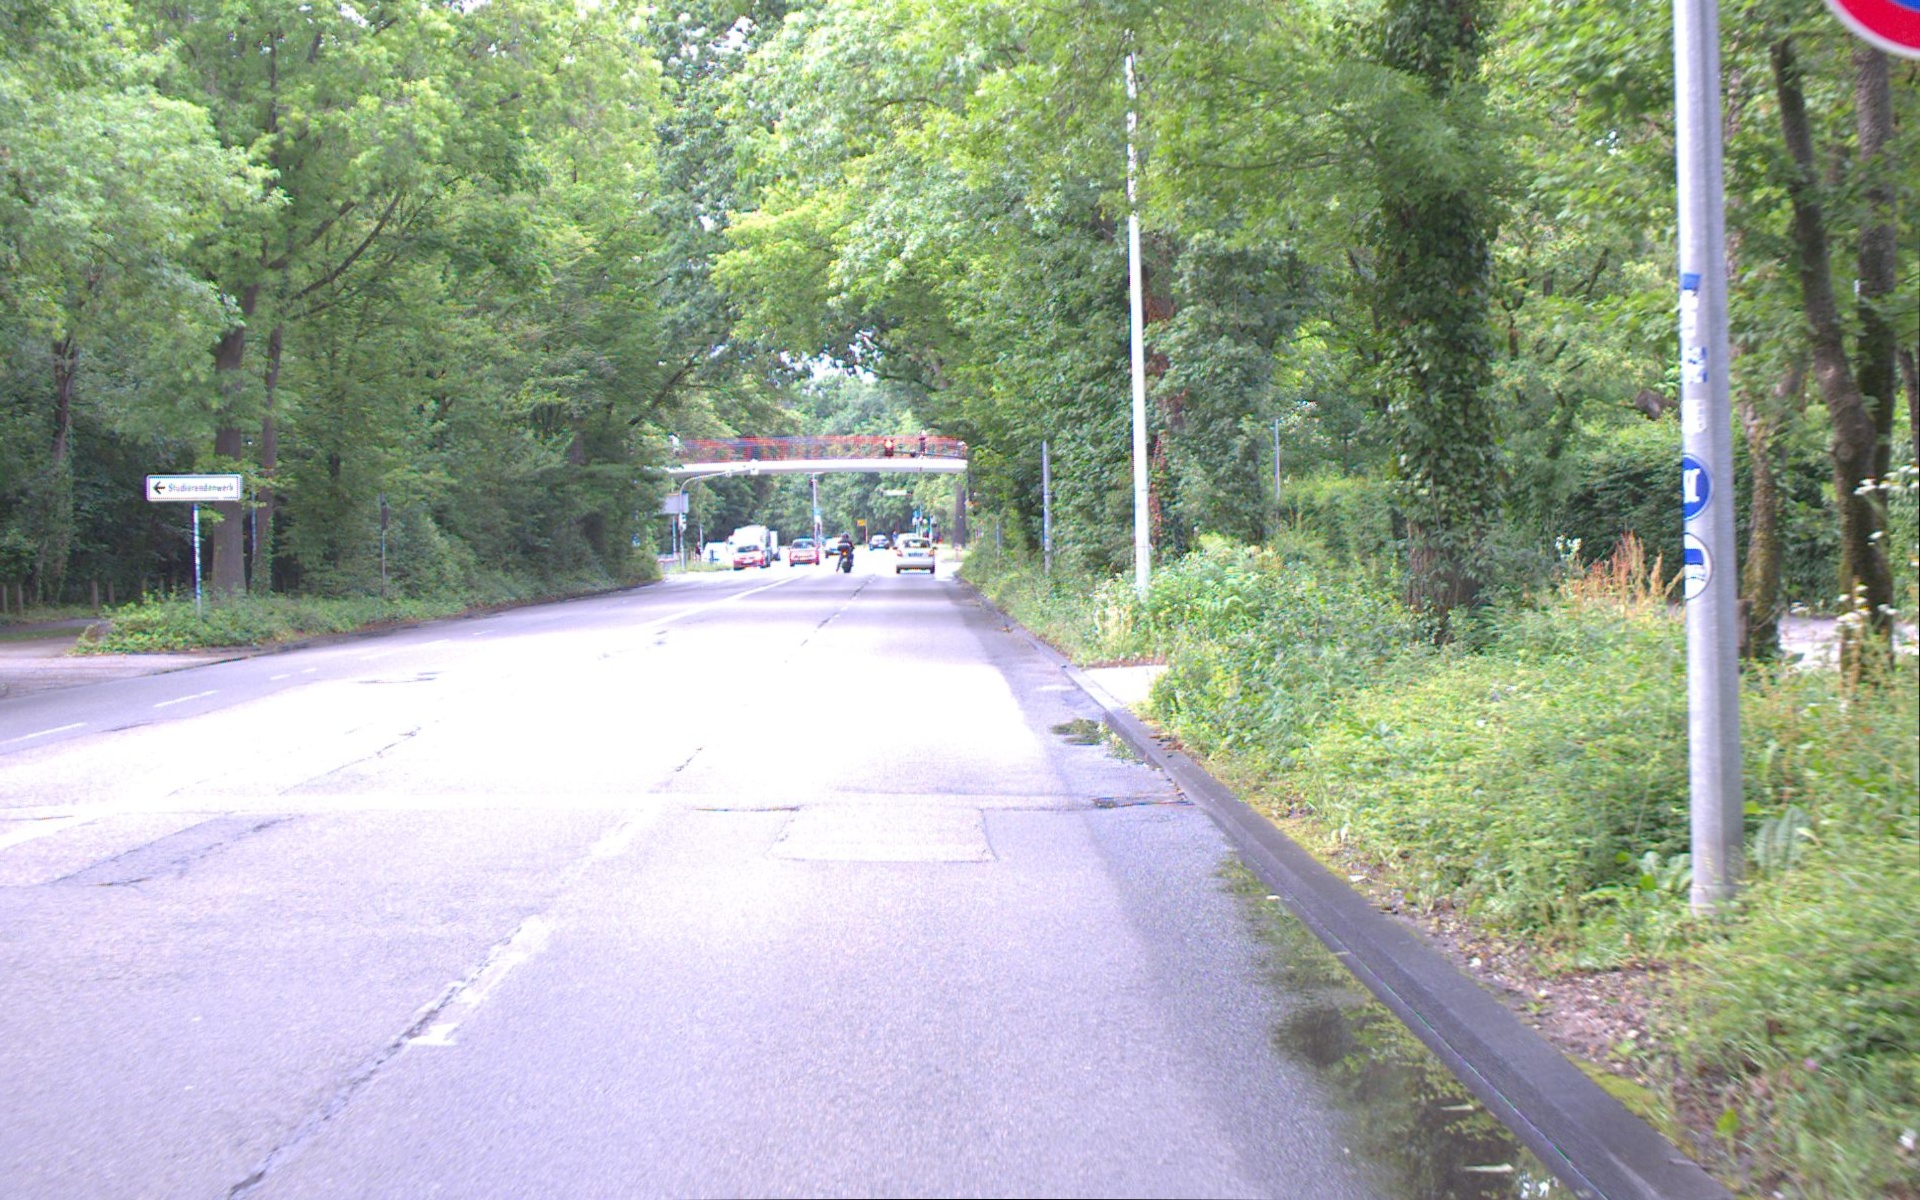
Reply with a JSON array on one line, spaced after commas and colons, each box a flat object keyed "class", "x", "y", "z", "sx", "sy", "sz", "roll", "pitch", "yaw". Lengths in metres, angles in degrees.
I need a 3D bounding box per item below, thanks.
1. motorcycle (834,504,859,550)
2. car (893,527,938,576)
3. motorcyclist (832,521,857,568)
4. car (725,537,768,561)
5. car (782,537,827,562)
[{"class": "motorcycle", "x": -4.846, "y": -3.122, "z": 146.698, "sx": 0.990, "sy": 1.929, "sz": 2.669, "roll": 0, "pitch": 1, "yaw": -1}, {"class": "car", "x": -1.845, "y": -2.002, "z": 143.251, "sx": 1.843, "sy": 2.007, "sz": 4.000, "roll": 0, "pitch": 0, "yaw": -1}, {"class": "motorcyclist", "x": -4.924, "y": -2.355, "z": 146.537, "sx": 1.063, "sy": 2.007, "sz": 0.843, "roll": 0, "pitch": 1, "yaw": -1}, {"class": "car", "x": -11.756, "y": -2.815, "z": 189.728, "sx": 1.993, "sy": 1.349, "sz": 3.894, "roll": 0, "pitch": 1, "yaw": 2}, {"class": "car", "x": -8.551, "y": -2.780, "z": 189.453, "sx": 1.675, "sy": 1.357, "sz": 3.919, "roll": 0, "pitch": 1, "yaw": 10}]
